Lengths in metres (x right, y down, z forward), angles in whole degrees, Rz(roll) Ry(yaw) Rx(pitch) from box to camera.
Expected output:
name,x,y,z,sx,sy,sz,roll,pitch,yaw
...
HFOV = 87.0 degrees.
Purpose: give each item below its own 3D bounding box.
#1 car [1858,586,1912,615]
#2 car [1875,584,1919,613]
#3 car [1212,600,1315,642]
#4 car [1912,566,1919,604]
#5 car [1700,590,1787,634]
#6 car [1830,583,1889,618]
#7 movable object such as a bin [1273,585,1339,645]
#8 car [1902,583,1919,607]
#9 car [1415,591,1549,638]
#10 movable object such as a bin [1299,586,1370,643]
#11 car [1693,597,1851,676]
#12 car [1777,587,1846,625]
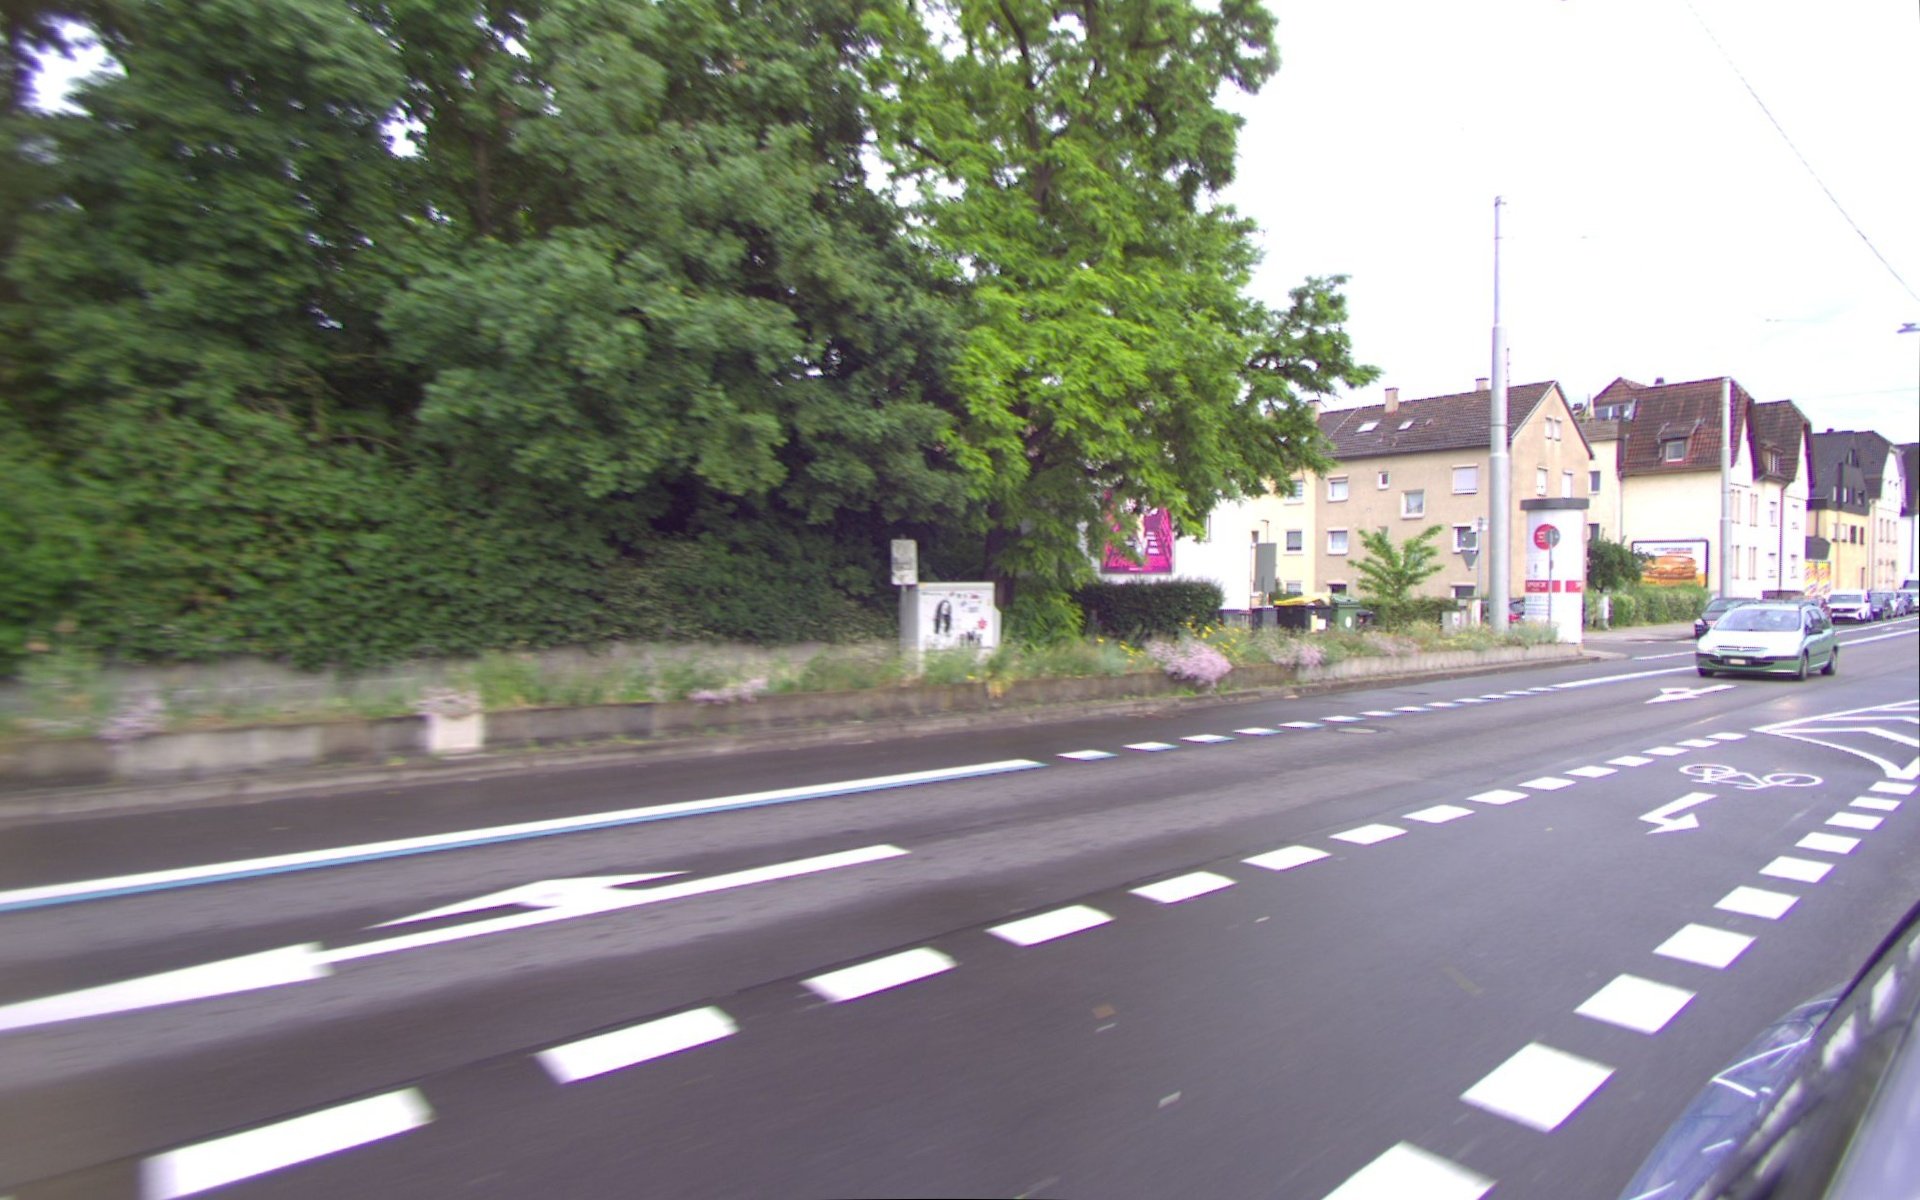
name,x,y,z,sx,sy,sz,roll,pitch,yaw
car,51.932,0.013,56.805,4.063,1.531,1.690,-2,0,-39
car,56.331,-0.119,60.562,4.206,1.586,1.705,-3,1,-39
car,14.272,1.015,47.820,1.847,1.817,4.279,-2,0,-41
car,68.036,-1.093,70.378,5.818,2.530,2.043,-3,1,-40
car,30.007,0.432,38.709,4.362,1.553,1.839,-1,0,-41
car,47.525,0.010,53.428,4.445,1.779,1.849,-1,0,-42
movable object such as a bin,8.801,0.372,25.771,1.116,1.435,1.185,-2,1,-43
car,63.690,-0.364,66.869,4.126,1.483,1.604,-2,1,-39
car,20.480,0.612,39.858,1.845,1.676,4.284,-3,0,-37
movable object such as a bin,9.903,0.370,26.773,1.279,1.435,1.312,-2,1,-43
car,16.940,0.688,21.046,4.128,1.467,1.886,0,0,-41
car,39.917,0.277,47.415,4.028,1.648,1.840,-2,0,-41
